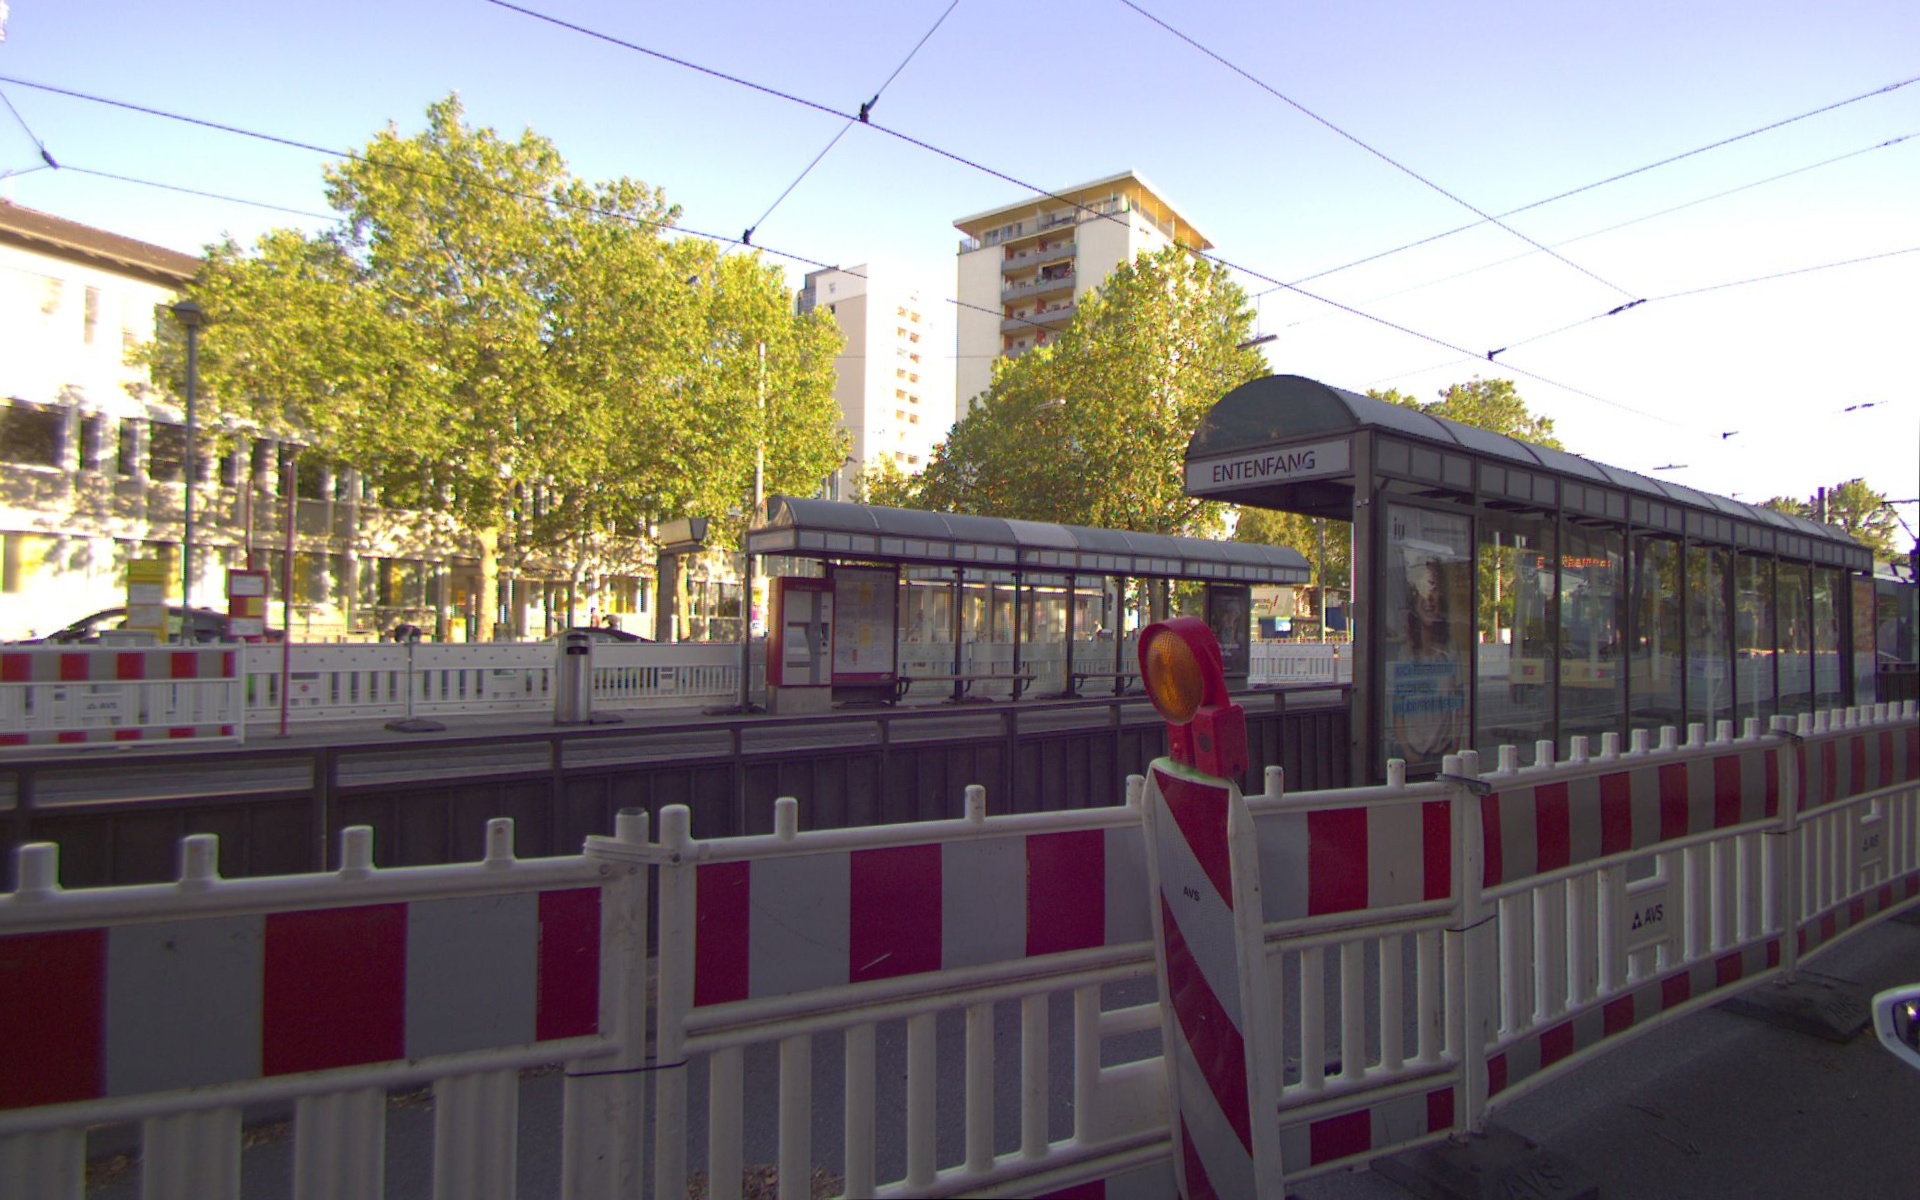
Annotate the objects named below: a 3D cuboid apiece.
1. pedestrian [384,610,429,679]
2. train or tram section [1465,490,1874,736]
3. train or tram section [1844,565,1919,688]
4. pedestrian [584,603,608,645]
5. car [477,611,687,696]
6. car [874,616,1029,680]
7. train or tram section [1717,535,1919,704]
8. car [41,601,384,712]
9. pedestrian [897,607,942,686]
[{"bbox_3d":[-15.255,1.221,27.675,0.921,1.858,0.691,2,-2,-43],"label":"pedestrian"},{"bbox_3d":[13.980,0.330,19.125,11.657,3.580,2.668,2,0,-36],"label":"train or tram section"},{"bbox_3d":[32.235,0.930,32.993,11.479,3.580,2.666,2,0,-38],"label":"train or tram section"},{"bbox_3d":[-12.898,0.842,35.585,0.578,1.474,0.582,0,-2,44],"label":"pedestrian"},{"bbox_3d":[-8.250,1.138,21.993,3.958,1.683,1.982,2,-2,-34],"label":"car"},{"bbox_3d":[-0.204,1.327,28.144,3.959,1.683,1.901,2,-2,-35],"label":"car"},{"bbox_3d":[23.131,0.547,26.015,11.477,3.606,2.666,2,0,-38],"label":"train or tram section"},{"bbox_3d":[-12.667,0.942,17.432,4.511,1.683,1.982,2,-2,-34],"label":"car"},{"bbox_3d":[-1.013,1.155,25.030,0.829,1.925,0.740,2,-2,-36],"label":"pedestrian"}]
